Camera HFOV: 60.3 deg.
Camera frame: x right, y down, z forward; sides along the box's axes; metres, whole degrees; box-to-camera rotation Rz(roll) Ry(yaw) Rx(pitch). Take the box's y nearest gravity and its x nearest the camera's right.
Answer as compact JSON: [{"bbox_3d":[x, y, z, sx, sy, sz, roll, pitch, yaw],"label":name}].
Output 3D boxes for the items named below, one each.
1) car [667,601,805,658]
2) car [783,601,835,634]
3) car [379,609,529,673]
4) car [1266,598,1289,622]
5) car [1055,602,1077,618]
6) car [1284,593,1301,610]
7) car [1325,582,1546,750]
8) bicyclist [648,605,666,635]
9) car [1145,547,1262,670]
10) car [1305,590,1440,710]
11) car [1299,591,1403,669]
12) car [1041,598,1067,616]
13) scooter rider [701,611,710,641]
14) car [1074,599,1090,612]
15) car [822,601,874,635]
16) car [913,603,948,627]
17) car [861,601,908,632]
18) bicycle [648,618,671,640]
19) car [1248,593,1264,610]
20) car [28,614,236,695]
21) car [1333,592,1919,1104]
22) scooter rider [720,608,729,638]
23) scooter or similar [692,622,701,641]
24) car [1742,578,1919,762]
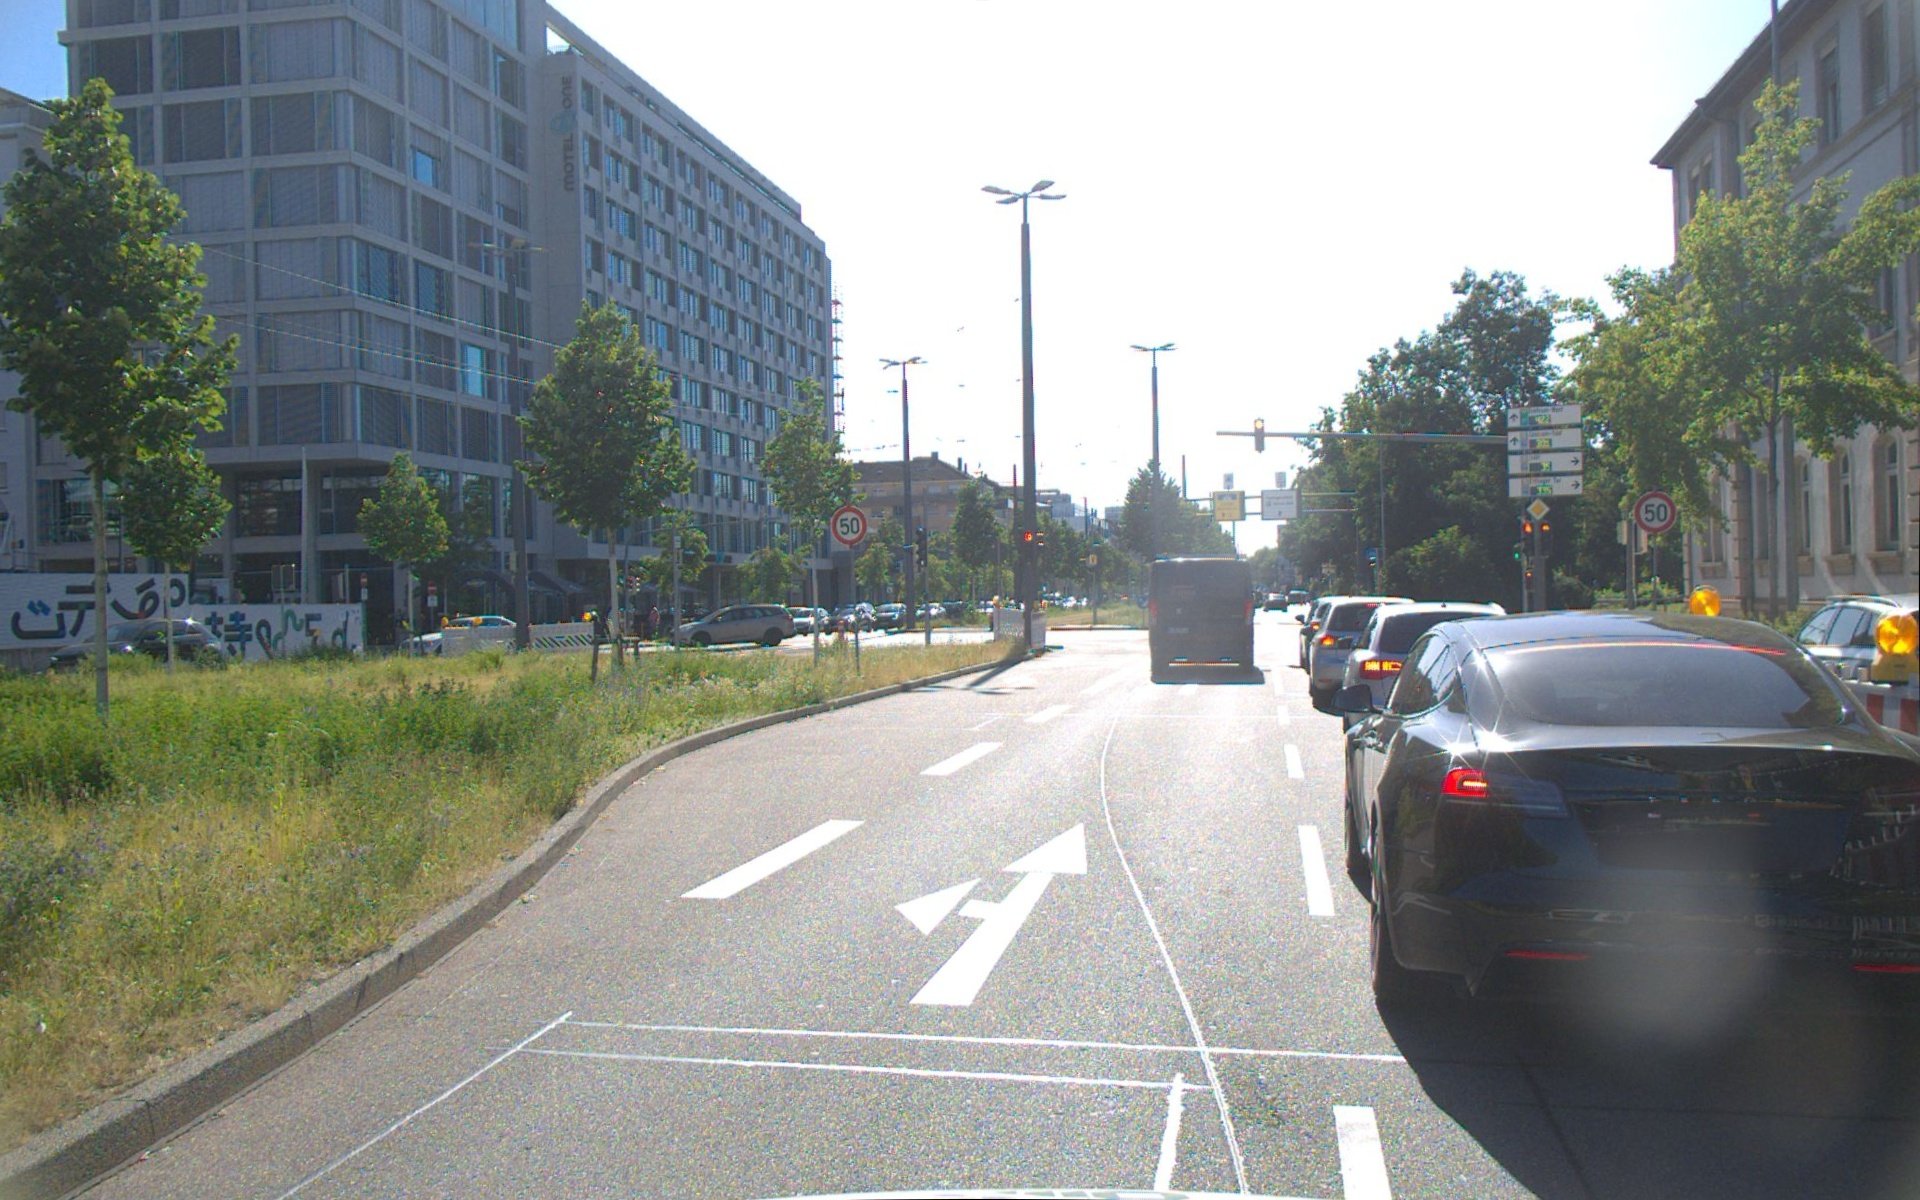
[{"bbox_3d":[-7.934,1.015,58.573,4.451,1.824,1.986,-2,0,-23],"label":"car"},{"bbox_3d":[-8.322,0.957,91.389,1.752,1.680,4.004,-2,0,12],"label":"car"},{"bbox_3d":[-15.880,1.258,52.179,1.954,1.824,4.523,-2,0,26],"label":"car"},{"bbox_3d":[25.605,0.814,133.325,1.753,1.906,3.853,0,0,10],"label":"car"},{"bbox_3d":[11.437,1.074,177.697,1.752,1.680,4.004,-2,0,12],"label":"car"},{"bbox_3d":[37.987,0.178,189.012,1.753,1.906,3.853,0,0,10],"label":"car"},{"bbox_3d":[4.671,0.560,16.844,1.710,1.452,4.842,-1,0,11],"label":"car"},{"bbox_3d":[-15.983,1.048,87.280,0.581,1.608,0.893,0,0,15],"label":"bicyclist"},{"bbox_3d":[4.974,0.136,33.372,2.170,2.307,4.488,0,1,10],"label":"car"},{"bbox_3d":[5.846,0.652,23.805,1.712,1.554,4.008,0,0,12],"label":"car"},{"bbox_3d":[7.710,0.564,32.852,1.753,1.453,3.853,0,0,10],"label":"car"},{"bbox_3d":[8.821,0.642,155.246,1.769,1.680,4.004,-2,0,12],"label":"car"},{"bbox_3d":[-12.996,1.322,84.376,0.335,1.478,0.239,-2,0,12],"label":"scooter rider"},{"bbox_3d":[16.936,0.790,229.595,1.752,1.680,4.004,-2,0,12],"label":"car"},{"bbox_3d":[-5.955,0.946,88.493,1.752,1.680,4.004,-2,0,12],"label":"car"},{"bbox_3d":[-2.165,1.098,122.133,1.752,1.680,4.004,-2,0,12],"label":"car"},{"bbox_3d":[-4.398,0.957,96.340,1.752,1.680,4.004,-2,0,12],"label":"car"},{"bbox_3d":[-15.864,1.522,87.273,0.574,1.119,1.624,0,0,15],"label":"bicycle"},{"bbox_3d":[34.792,0.180,194.483,1.753,1.906,3.853,0,0,10],"label":"car"},{"bbox_3d":[-20.938,1.335,42.024,1.953,1.824,4.526,-2,0,23],"label":"car"},{"bbox_3d":[2.723,0.715,7.151,2.007,1.469,4.528,0,1,11],"label":"car"},{"bbox_3d":[-11.954,1.168,84.065,0.335,1.478,0.239,-2,0,12],"label":"scooter rider"},{"bbox_3d":[-13.421,1.595,84.282,0.279,0.964,0.768,-2,0,4],"label":"scooter or similar"},{"bbox_3d":[9.405,0.583,16.563,1.612,1.501,4.705,-4,0,11],"label":"car"}]
